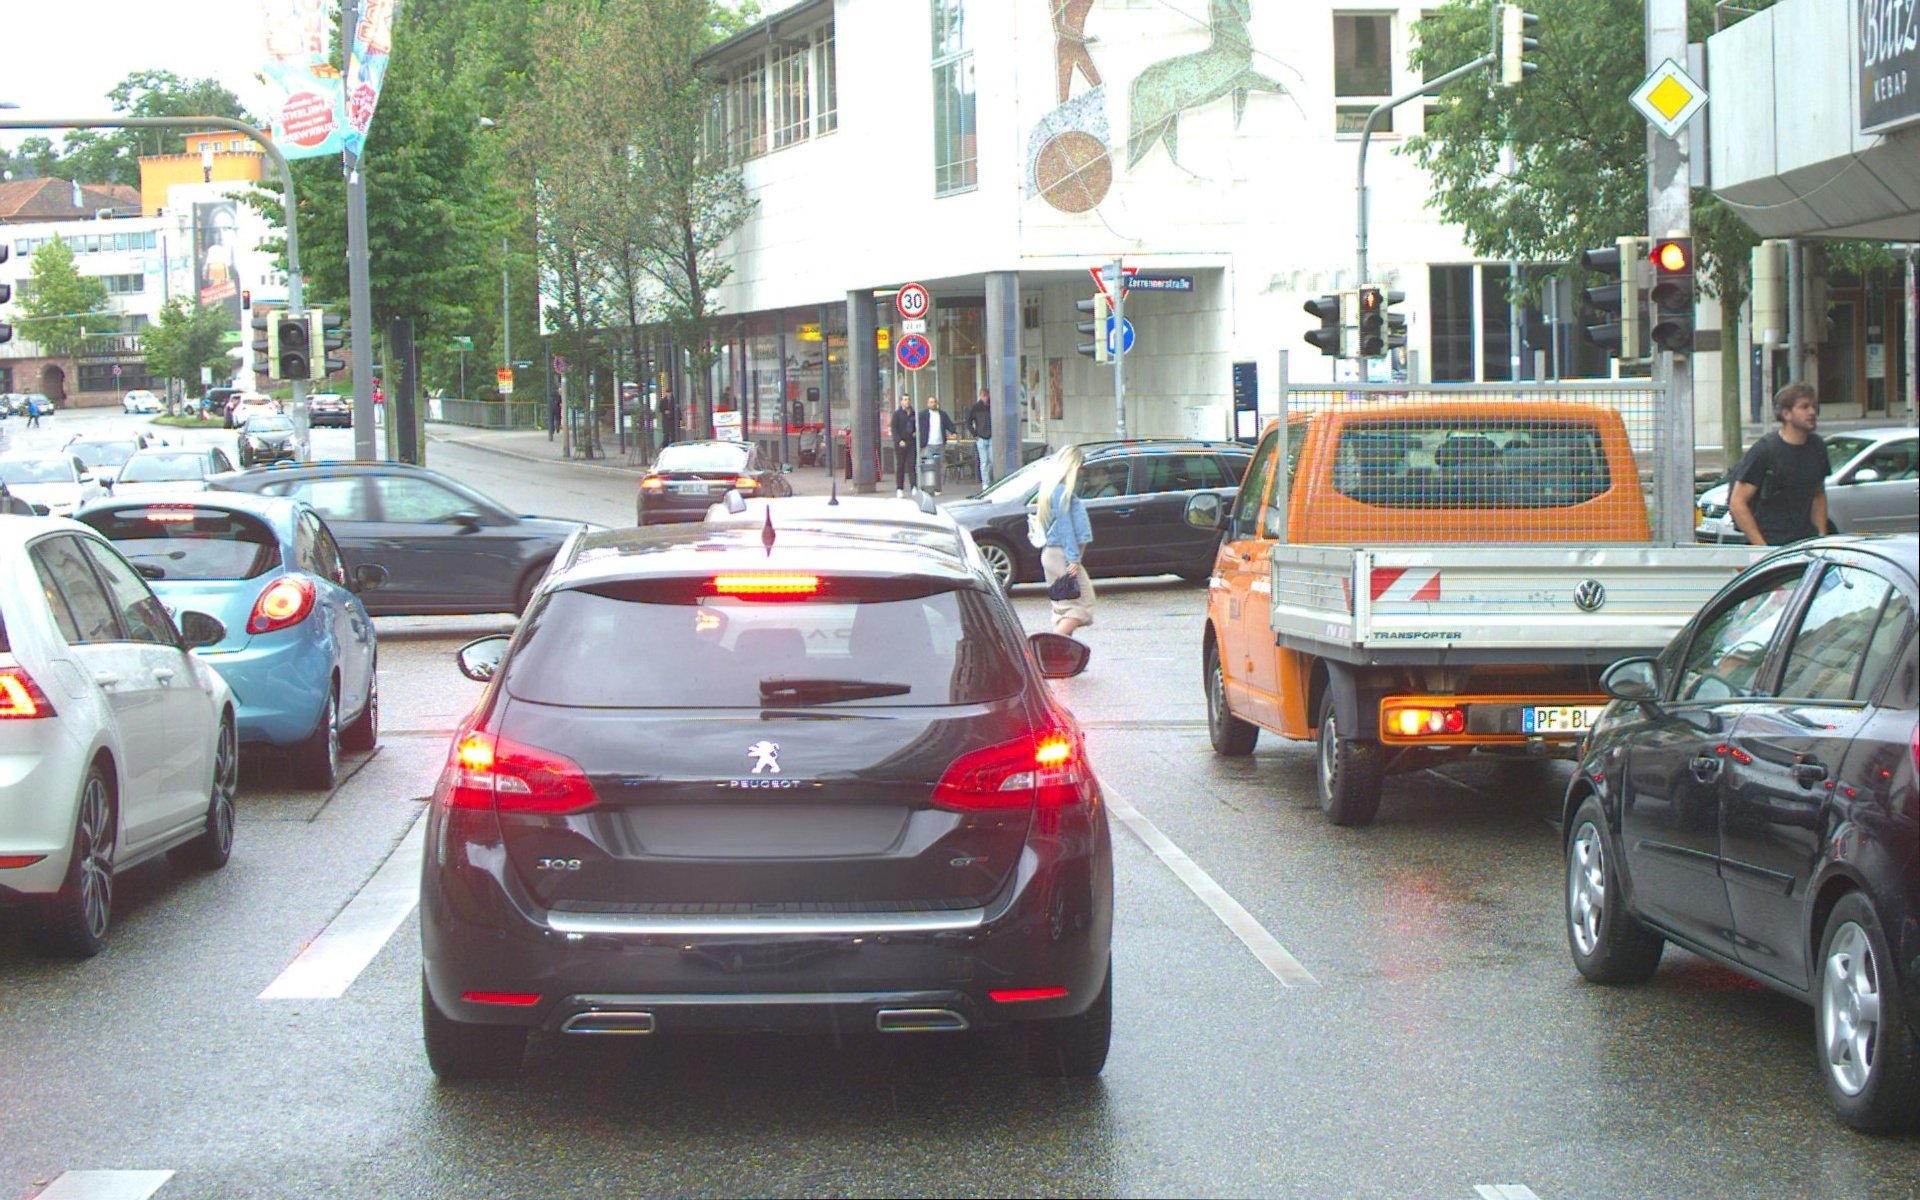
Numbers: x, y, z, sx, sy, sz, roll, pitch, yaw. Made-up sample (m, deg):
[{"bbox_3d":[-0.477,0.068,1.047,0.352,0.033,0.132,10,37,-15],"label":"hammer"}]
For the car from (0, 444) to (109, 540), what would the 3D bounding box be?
[{"bbox_3d":[-14.730,-1.754,55.191,1.632,1.481,3.611,0,2,-7],"label":"car"}]

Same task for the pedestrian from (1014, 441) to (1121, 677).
[{"bbox_3d":[0.775,-0.293,24.861,0.748,1.674,0.709,1,0,2],"label":"pedestrian"}]

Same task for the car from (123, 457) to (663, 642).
[{"bbox_3d":[-4.928,-0.472,30.036,4.490,1.449,1.794,-1,4,-9],"label":"car"}]

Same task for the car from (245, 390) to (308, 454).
[{"bbox_3d":[-19.774,-5.125,99.545,1.744,1.634,4.001,1,0,-11],"label":"car"}]

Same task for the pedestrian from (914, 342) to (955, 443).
[{"bbox_3d":[-0.455,-3.710,61.540,0.637,1.752,0.733,1,0,6],"label":"pedestrian"}]

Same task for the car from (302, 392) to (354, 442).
[{"bbox_3d":[-27.158,-7.865,147.696,1.705,1.929,4.001,1,0,-18],"label":"car"}]

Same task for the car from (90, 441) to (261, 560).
[{"bbox_3d":[-11.096,-1.376,48.851,1.744,1.574,4.000,1,0,-4],"label":"car"}]

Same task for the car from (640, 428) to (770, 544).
[{"bbox_3d":[-3.605,-1.567,48.527,1.725,1.485,4.734,1,0,-4],"label":"car"}]

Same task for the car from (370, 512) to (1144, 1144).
[{"bbox_3d":[-0.554,0.484,9.871,1.777,1.424,3.843,0,2,-3],"label":"car"}]

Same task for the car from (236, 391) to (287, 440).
[{"bbox_3d":[-29.858,-7.886,146.905,1.705,1.875,4.001,1,0,-18],"label":"car"}]

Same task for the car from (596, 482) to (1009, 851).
[{"bbox_3d":[-0.682,0.212,16.122,1.696,1.481,3.794,1,2,-1],"label":"car"}]

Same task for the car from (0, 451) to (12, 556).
[{"bbox_3d":[-14.341,-1.328,47.720,1.574,1.481,3.610,0,2,-4],"label":"car"}]

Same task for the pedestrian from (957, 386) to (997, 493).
[{"bbox_3d":[0.302,-2.899,62.177,0.637,1.891,0.733,1,0,6],"label":"pedestrian"}]

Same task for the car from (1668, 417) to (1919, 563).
[{"bbox_3d":[9.795,-1.153,37.062,3.894,1.481,1.624,1,0,-13],"label":"car"}]

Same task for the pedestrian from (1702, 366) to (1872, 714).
[{"bbox_3d":[4.502,-0.325,18.762,0.742,1.809,0.773,-4,0,11],"label":"pedestrian"}]

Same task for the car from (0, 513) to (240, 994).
[{"bbox_3d":[-3.762,0.418,12.342,1.777,1.424,3.843,0,2,-4],"label":"car"}]

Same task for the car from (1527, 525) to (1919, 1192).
[{"bbox_3d":[2.814,0.535,9.530,1.616,1.424,3.843,0,2,-4],"label":"car"}]

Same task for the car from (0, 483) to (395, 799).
[{"bbox_3d":[-3.969,0.140,18.361,1.632,1.481,3.610,0,2,-5],"label":"car"}]

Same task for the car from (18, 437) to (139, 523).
[{"bbox_3d":[-15.743,-2.163,61.512,1.632,1.481,3.611,0,2,-7],"label":"car"}]

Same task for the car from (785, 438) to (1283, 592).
[{"bbox_3d":[0.733,-0.861,34.584,4.721,1.481,1.639,0,2,-16],"label":"car"}]

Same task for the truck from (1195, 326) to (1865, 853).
[{"bbox_3d":[2.535,-0.146,16.756,2.177,2.165,5.021,1,2,-3],"label":"truck"}]
